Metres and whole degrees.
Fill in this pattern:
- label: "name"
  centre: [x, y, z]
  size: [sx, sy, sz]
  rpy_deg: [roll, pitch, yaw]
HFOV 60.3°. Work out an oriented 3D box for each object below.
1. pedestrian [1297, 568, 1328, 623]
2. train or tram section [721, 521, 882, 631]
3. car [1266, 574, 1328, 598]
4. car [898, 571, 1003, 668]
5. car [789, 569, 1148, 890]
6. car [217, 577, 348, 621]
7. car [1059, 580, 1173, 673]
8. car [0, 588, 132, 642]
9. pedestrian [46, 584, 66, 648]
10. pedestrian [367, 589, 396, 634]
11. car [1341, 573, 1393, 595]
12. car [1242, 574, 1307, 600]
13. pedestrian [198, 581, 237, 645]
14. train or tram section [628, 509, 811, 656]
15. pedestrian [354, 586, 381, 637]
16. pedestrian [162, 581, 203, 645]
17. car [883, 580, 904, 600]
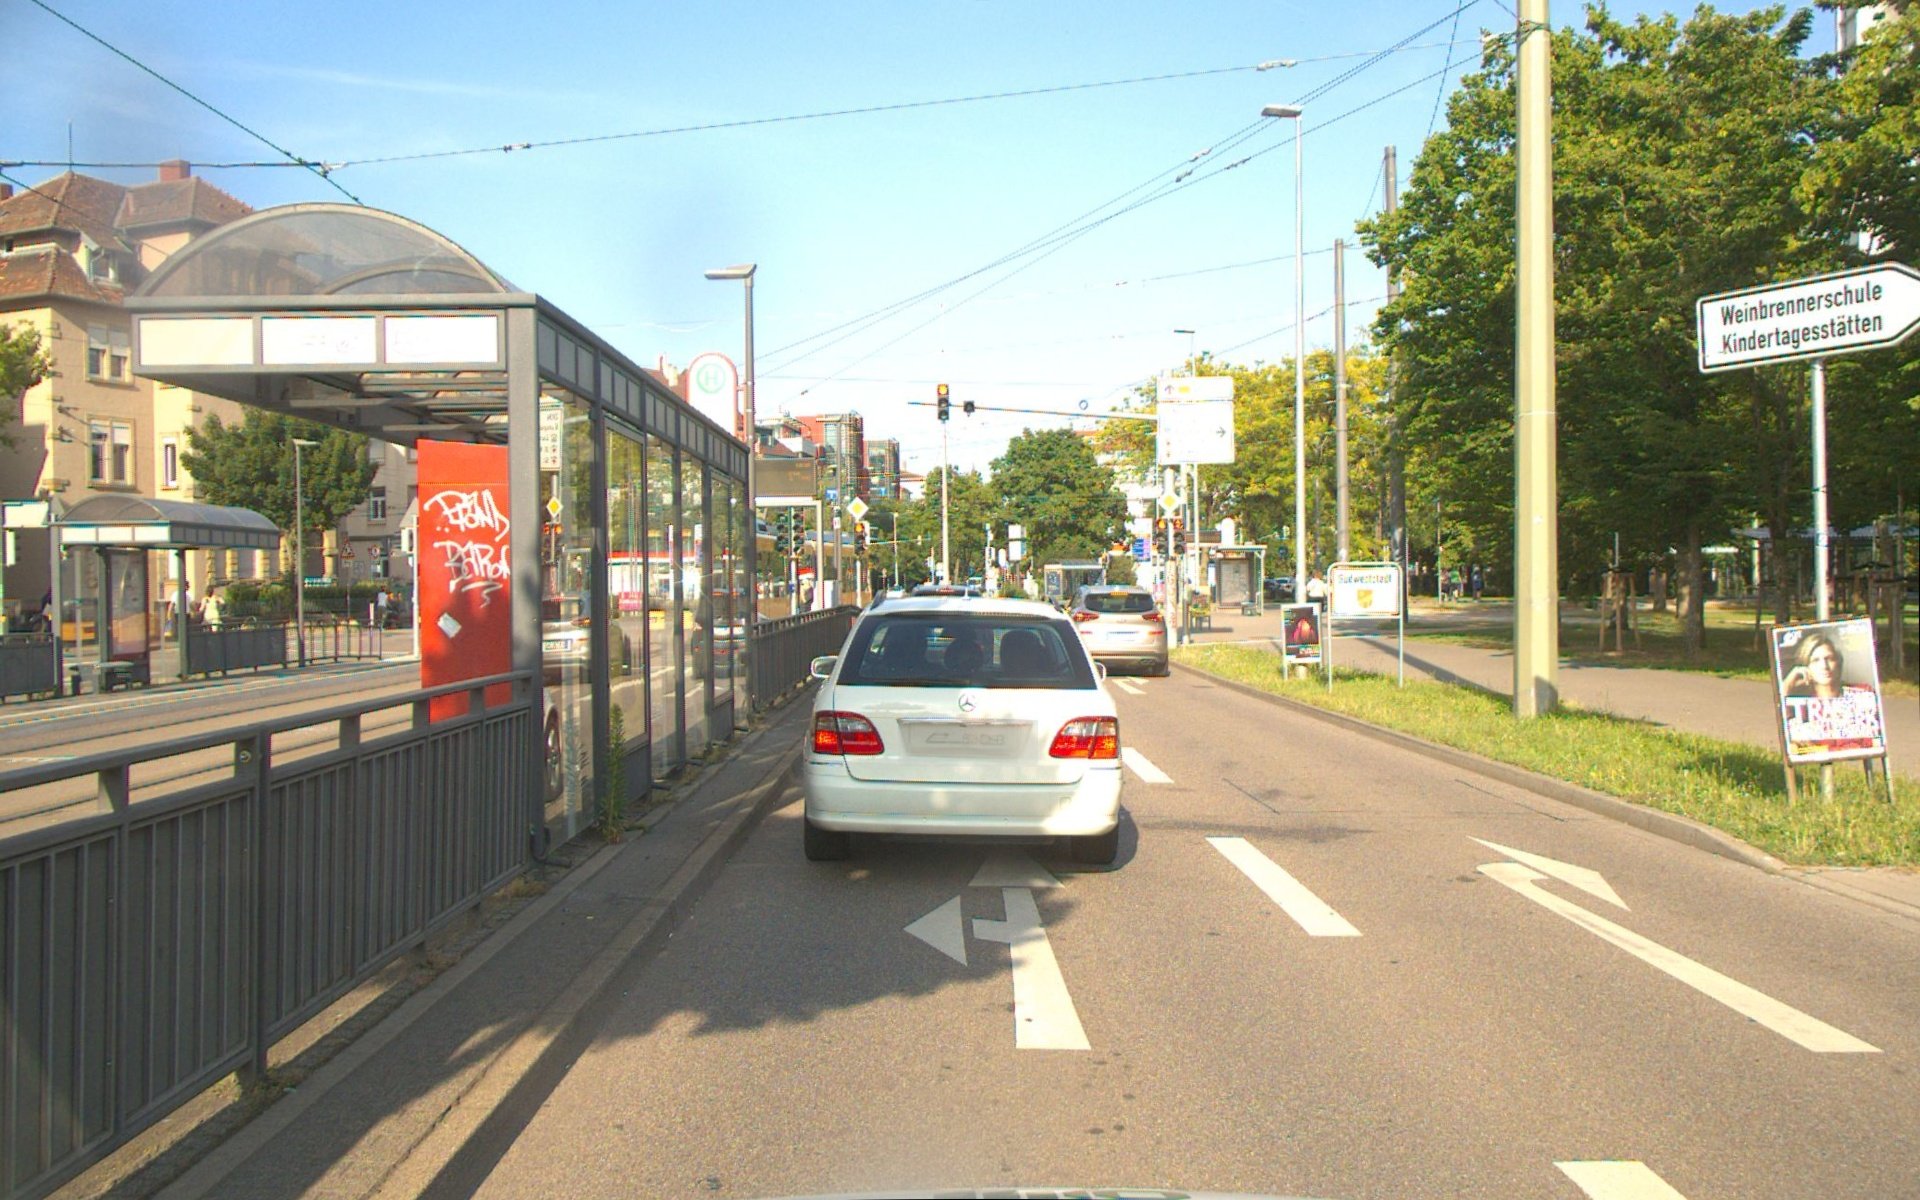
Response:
- label: "pedestrian"
  centre: [10.943, -0.149, 51.369]
  size: [0.867, 1.681, 0.746]
  rpy_deg: [0, 1, 7]
- label: "train or tram section"
  centre: [-5.425, -0.884, 59.852]
  size: [2.789, 3.540, 13.211]
  rpy_deg: [0, 1, 8]
- label: "car"
  centre: [24.015, -0.994, 117.895]
  size: [3.941, 1.680, 1.982]
  rpy_deg: [-1, 0, -28]
- label: "car"
  centre: [-0.117, 0.319, 31.533]
  size: [1.750, 1.719, 4.002]
  rpy_deg: [0, 1, 3]
- label: "car"
  centre: [0.048, 0.616, 10.106]
  size: [1.722, 1.530, 4.000]
  rpy_deg: [-1, 0, 0]
- label: "car"
  centre: [-26.856, -0.071, 65.710]
  size: [2.159, 1.656, 4.716]
  rpy_deg: [0, 1, 22]
- label: "car"
  centre: [2.877, 0.441, 31.226]
  size: [1.990, 1.633, 4.002]
  rpy_deg: [0, 1, 3]
- label: "car"
  centre: [-30.902, 0.501, 57.051]
  size: [3.903, 1.780, 2.001]
  rpy_deg: [0, 1, 17]
- label: "pedestrian"
  centre: [-29.217, 0.518, 53.449]
  size: [0.374, 2.049, 0.408]
  rpy_deg: [0, 1, 18]
- label: "pedestrian"
  centre: [-23.190, 0.441, 66.338]
  size: [0.868, 1.783, 0.746]
  rpy_deg: [0, 1, 3]
- label: "car"
  centre: [34.057, -1.342, 138.390]
  size: [3.941, 1.680, 1.982]
  rpy_deg: [-1, 0, -28]
- label: "car"
  centre: [21.027, -0.874, 110.676]
  size: [3.907, 1.680, 1.999]
  rpy_deg: [-1, 0, 25]
- label: "pedestrian"
  centre: [-21.107, 0.365, 47.023]
  size: [0.871, 1.783, 0.744]
  rpy_deg: [0, 1, -12]
- label: "train or tram section"
  centre: [-6.439, -0.553, 46.802]
  size: [2.790, 3.540, 13.204]
  rpy_deg: [0, 1, 2]
- label: "pedestrian"
  centre: [-21.030, 0.411, 58.753]
  size: [0.651, 1.783, 0.746]
  rpy_deg: [0, 1, 3]
- label: "pedestrian"
  centre: [-22.002, 0.365, 46.824]
  size: [0.871, 1.783, 0.744]
  rpy_deg: [0, 1, -12]
- label: "car"
  centre: [-6.739, -1.020, 168.016]
  size: [1.953, 2.049, 3.999]
  rpy_deg: [-1, 0, -1]
